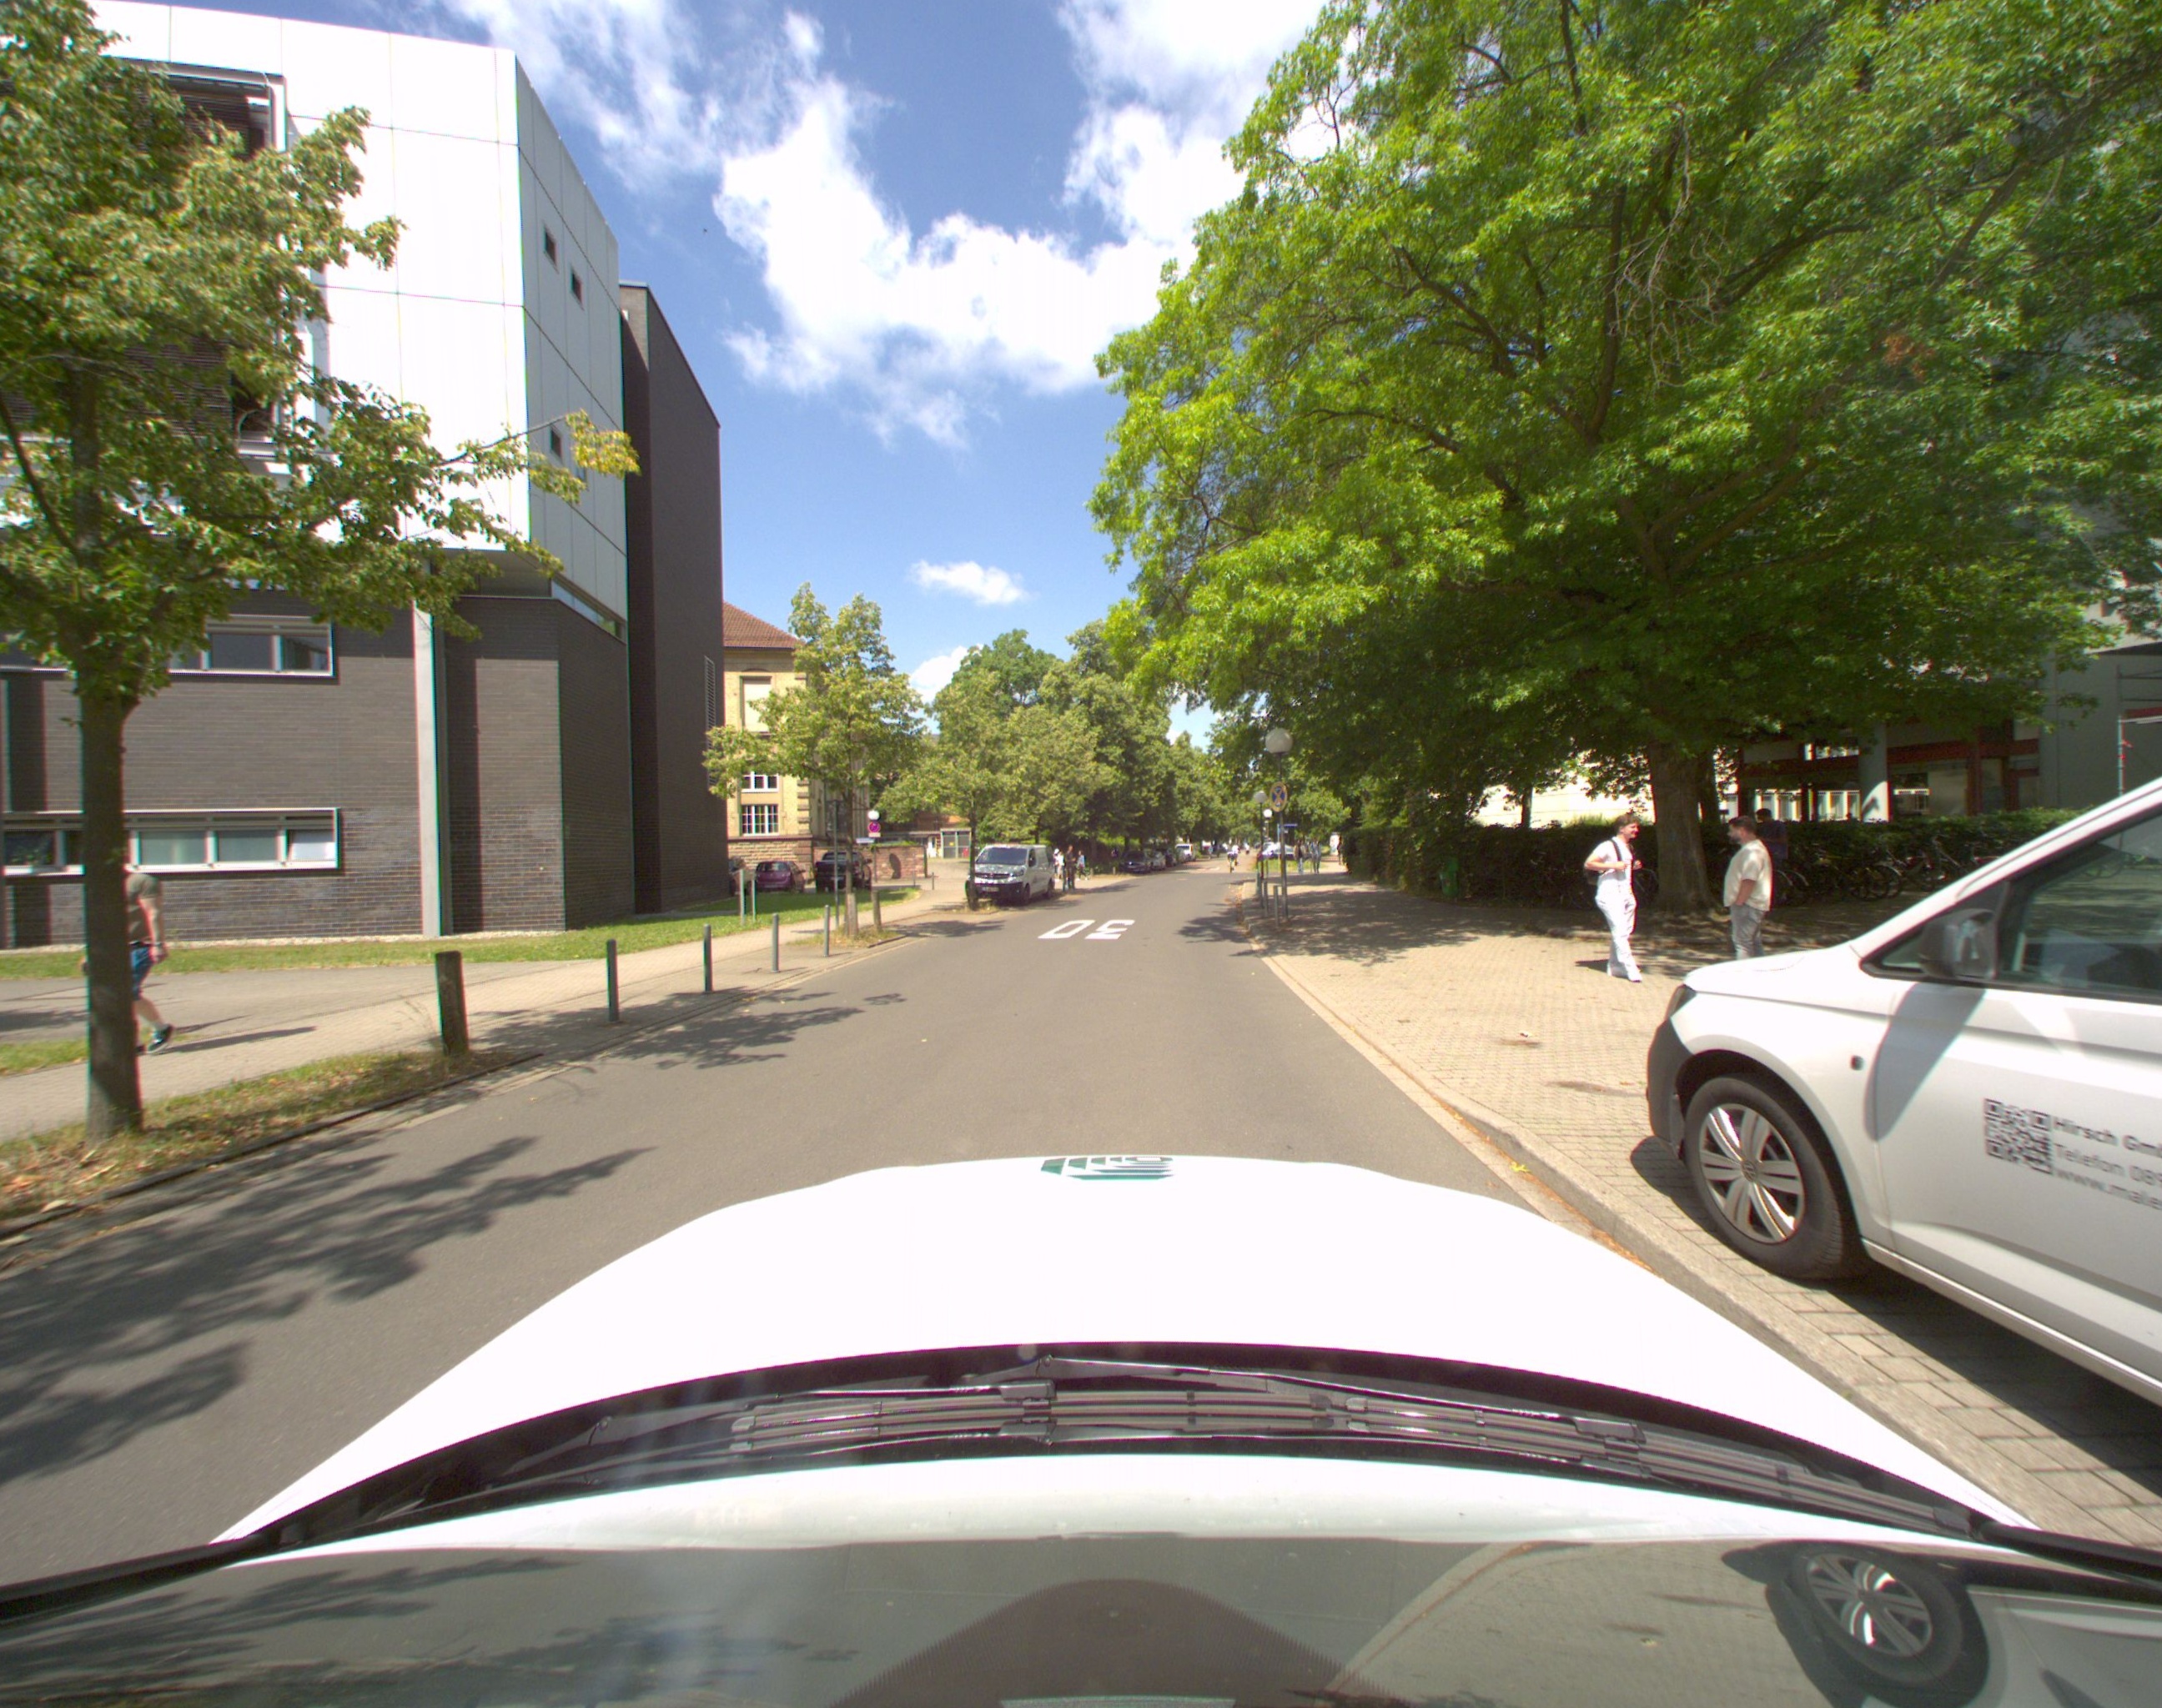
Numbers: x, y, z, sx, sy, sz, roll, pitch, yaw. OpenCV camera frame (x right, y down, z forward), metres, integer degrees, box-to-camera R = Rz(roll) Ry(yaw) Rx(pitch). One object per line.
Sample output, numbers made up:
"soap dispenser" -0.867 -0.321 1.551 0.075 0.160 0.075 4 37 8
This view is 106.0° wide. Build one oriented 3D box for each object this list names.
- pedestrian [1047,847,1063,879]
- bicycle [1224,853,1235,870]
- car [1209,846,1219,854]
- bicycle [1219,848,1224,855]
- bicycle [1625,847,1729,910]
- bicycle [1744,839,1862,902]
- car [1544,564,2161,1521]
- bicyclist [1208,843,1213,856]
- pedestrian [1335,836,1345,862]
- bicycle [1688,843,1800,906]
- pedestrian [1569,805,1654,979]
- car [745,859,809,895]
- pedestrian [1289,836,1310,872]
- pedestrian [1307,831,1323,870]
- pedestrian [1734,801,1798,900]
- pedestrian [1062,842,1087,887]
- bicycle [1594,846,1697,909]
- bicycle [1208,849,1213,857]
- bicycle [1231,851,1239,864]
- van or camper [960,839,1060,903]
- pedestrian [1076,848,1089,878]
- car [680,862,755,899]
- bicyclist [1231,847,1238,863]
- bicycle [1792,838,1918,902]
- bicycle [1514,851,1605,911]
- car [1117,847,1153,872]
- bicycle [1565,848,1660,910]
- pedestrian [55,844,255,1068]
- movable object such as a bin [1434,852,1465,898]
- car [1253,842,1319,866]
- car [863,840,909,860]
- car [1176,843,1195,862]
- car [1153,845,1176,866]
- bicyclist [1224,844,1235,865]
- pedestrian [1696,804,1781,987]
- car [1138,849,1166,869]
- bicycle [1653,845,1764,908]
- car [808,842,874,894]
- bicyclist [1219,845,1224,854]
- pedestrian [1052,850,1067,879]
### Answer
"pedestrian" -1.404 0.478 44.045 0.631 1.663 0.596 -1 0 -37
"bicycle" 9.025 0.435 49.457 0.610 1.001 1.428 -1 0 11
"car" 23.120 -0.701 141.545 1.606 1.364 4.575 -1 0 10
"bicycle" 18.843 -0.330 108.902 0.610 1.001 1.428 -1 0 11
"bicycle" 11.339 0.431 15.570 0.497 1.119 1.869 -1 0 -4
"bicycle" 13.720 0.300 15.552 0.497 1.119 1.869 -1 0 -4
"car" 3.041 0.358 1.274 1.842 1.891 4.890 -2 0 0
"bicyclist" 15.757 -0.530 99.122 0.559 1.498 0.830 -1 0 11
"pedestrian" 17.873 -0.351 56.163 0.596 1.755 0.632 -1 0 18
"bicycle" 12.570 0.366 15.516 0.497 1.119 1.869 -1 0 -4
"pedestrian" 5.848 0.390 8.980 0.622 1.821 0.728 -1 0 44
"car" -12.484 0.918 33.684 1.818 1.324 3.754 -1 0 -11
"pedestrian" 10.774 0.000 40.068 0.813 1.755 0.845 -2 0 24
"pedestrian" 11.565 -0.168 40.217 0.666 1.872 0.796 -1 0 21
"pedestrian" 13.113 -0.066 15.605 0.542 1.837 0.761 -1 0 -3
"pedestrian" -0.266 0.440 34.407 0.717 1.857 0.796 -1 0 29
"bicycle" 10.786 0.428 15.643 0.497 1.119 1.933 -1 0 -4
"bicycle" 15.755 -0.159 99.172 0.574 1.001 1.428 -1 0 11
"bicycle" 12.622 0.300 66.713 0.610 1.001 1.428 -2 1 11
"van or camper" -2.230 0.485 27.272 1.941 1.923 5.436 0 1 10
"pedestrian" 0.075 0.472 44.004 0.497 1.585 0.489 -1 0 -29
"car" -14.710 1.033 33.184 1.818 1.324 4.147 1 0 -11
"bicyclist" 12.610 0.043 66.730 0.519 1.296 0.613 -1 0 11
"bicycle" 14.502 0.285 15.335 0.497 1.119 1.869 -1 0 -4
"bicycle" 9.606 0.505 16.426 0.618 1.119 1.869 -1 0 -4
"car" 3.561 0.360 53.246 1.748 1.522 4.124 -1 0 11
"bicycle" 10.253 0.457 15.780 0.497 1.119 1.869 -1 0 -4
"pedestrian" -7.794 0.807 6.904 0.581 1.764 0.913 -1 0 5
"movable object such as a bin" 8.727 0.494 19.290 0.488 1.072 0.504 -1 0 -2
"car" 14.621 -0.033 58.152 4.455 1.525 1.817 -2 0 12
"car" -17.208 -0.366 71.854 3.859 1.621 1.748 -1 0 -14
"car" 10.866 -0.184 84.291 1.605 1.815 4.013 -1 0 11
"car" 7.141 0.082 69.368 1.605 1.679 4.013 -1 0 11
"bicyclist" 9.019 0.020 49.471 0.605 1.296 0.613 -1 0 11
"pedestrian" 6.541 0.384 8.097 0.557 1.710 0.750 -1 0 44
"car" 5.363 0.363 60.836 1.605 1.387 4.013 -1 0 11
"bicycle" 11.906 0.404 15.527 0.497 1.119 1.937 -1 0 -4
"car" -9.957 0.533 34.178 2.176 1.925 5.165 -1 0 -12
"bicyclist" 18.834 -0.611 108.866 0.604 1.296 0.613 -1 0 11
"pedestrian" -1.115 0.543 42.858 0.587 1.527 0.489 -1 0 -28
